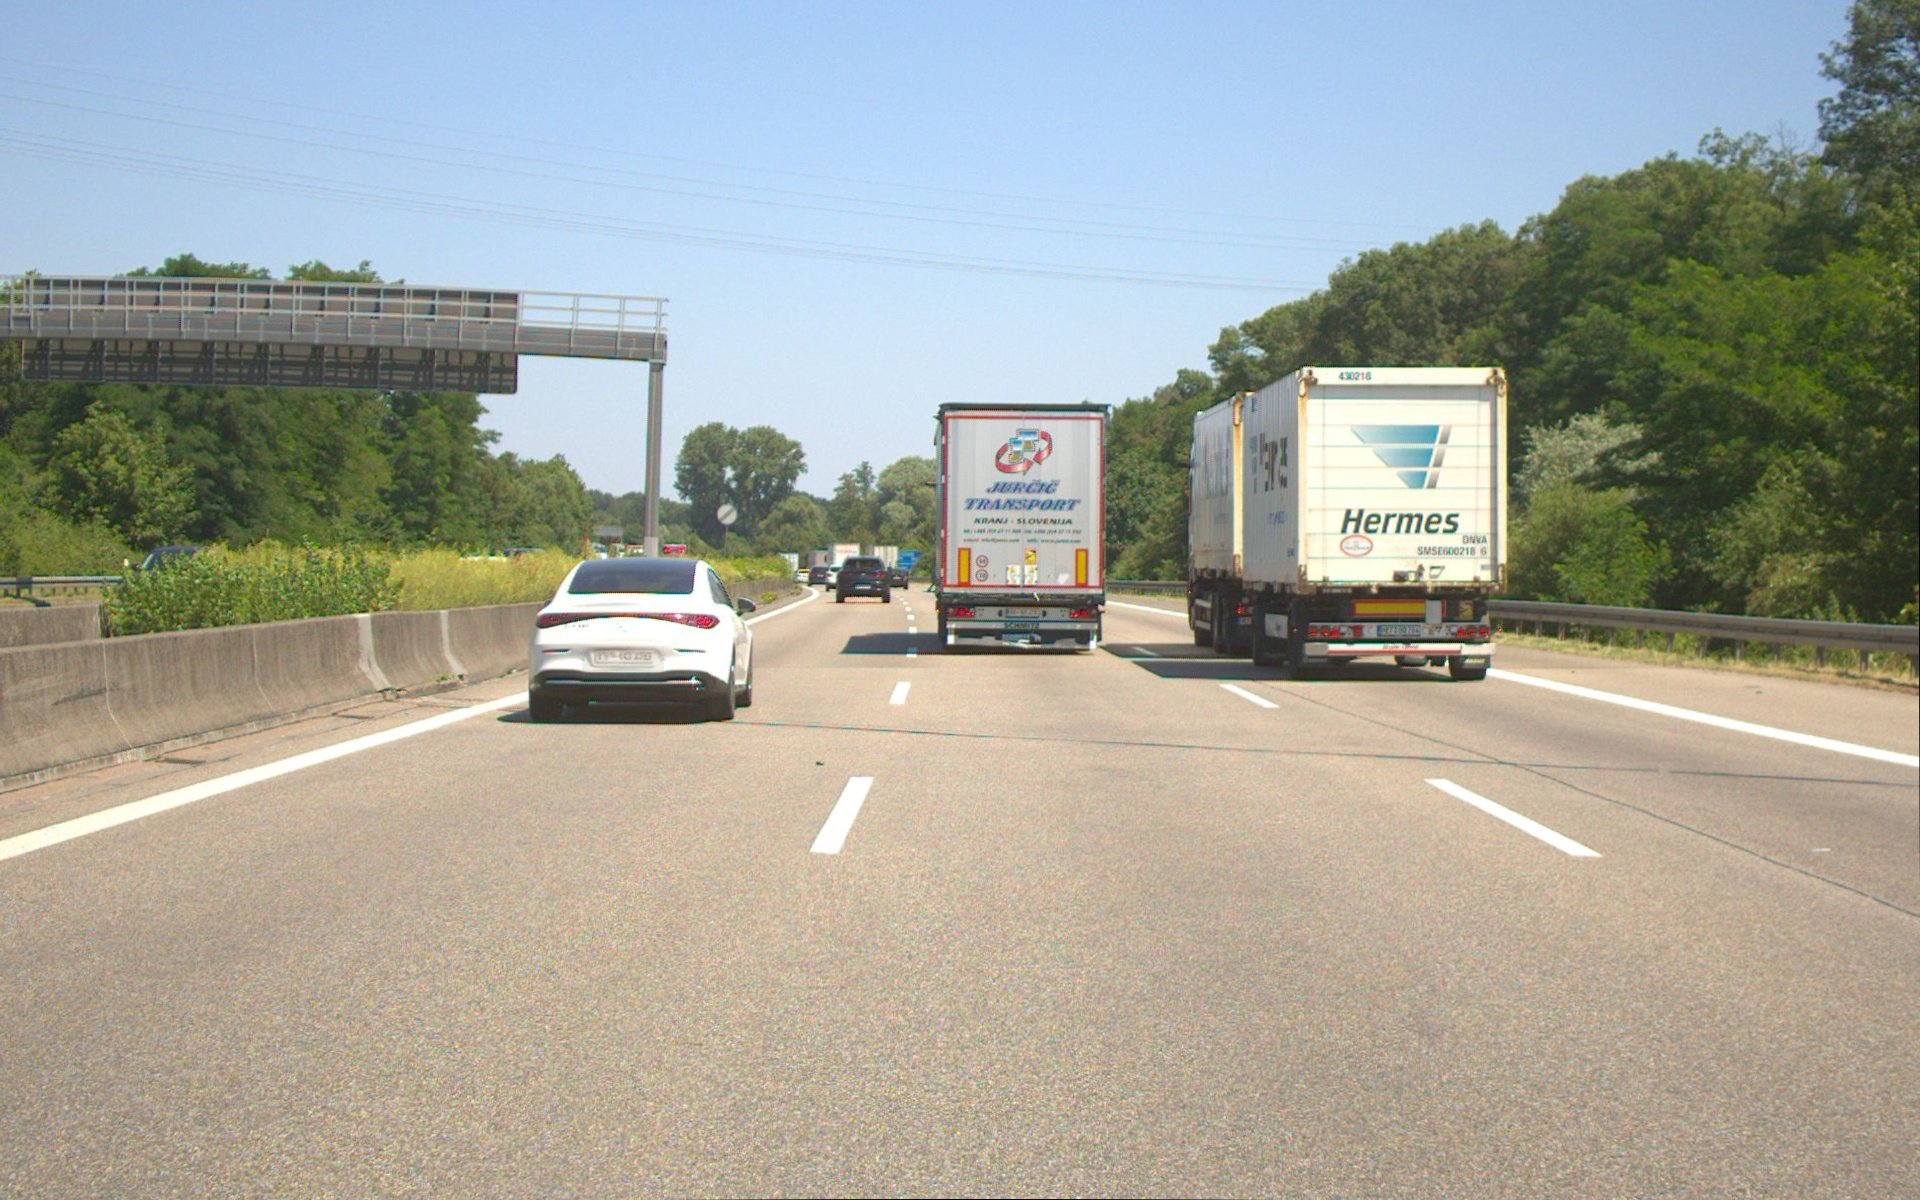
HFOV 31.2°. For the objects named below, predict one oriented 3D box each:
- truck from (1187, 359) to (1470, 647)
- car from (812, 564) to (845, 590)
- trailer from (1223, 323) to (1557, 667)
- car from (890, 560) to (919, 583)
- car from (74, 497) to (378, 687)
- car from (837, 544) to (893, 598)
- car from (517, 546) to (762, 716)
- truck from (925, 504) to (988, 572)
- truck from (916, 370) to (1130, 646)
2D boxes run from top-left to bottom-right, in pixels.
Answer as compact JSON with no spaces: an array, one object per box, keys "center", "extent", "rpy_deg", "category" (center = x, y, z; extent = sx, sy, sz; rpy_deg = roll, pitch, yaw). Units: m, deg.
[{"center":[5.582,-1.475,54.178],"extent":[3.326,4.039,10.954],"rpy_deg":[1,1,0],"category":"truck"},{"center":[-8.054,-1.437,211.145],"extent":[1.993,1.590,4.000],"rpy_deg":[0,1,-1],"category":"car"},{"center":[5.530,-1.353,46.020],"extent":[3.367,4.128,9.092],"rpy_deg":[0,1,0],"category":"trailer"},{"center":[-3.873,-2.018,240.253],"extent":[1.993,1.590,4.000],"rpy_deg":[0,1,-1],"category":"car"},{"center":[-8.209,-0.130,38.937],"extent":[2.292,2.007,4.711],"rpy_deg":[0,1,2],"category":"car"},{"center":[-3.510,-1.090,127.303],"extent":[1.993,1.867,4.001],"rpy_deg":[1,2,-1],"category":"car"},{"center":[-2.916,0.227,32.235],"extent":[1.767,1.443,5.108],"rpy_deg":[0,1,1],"category":"car"},{"center":[-0.266,-3.716,207.243],"extent":[3.444,3.976,9.516],"rpy_deg":[0,1,-2],"category":"truck"},{"center":[0.951,-1.484,56.752],"extent":[3.229,4.187,8.466],"rpy_deg":[1,1,0],"category":"truck"}]
